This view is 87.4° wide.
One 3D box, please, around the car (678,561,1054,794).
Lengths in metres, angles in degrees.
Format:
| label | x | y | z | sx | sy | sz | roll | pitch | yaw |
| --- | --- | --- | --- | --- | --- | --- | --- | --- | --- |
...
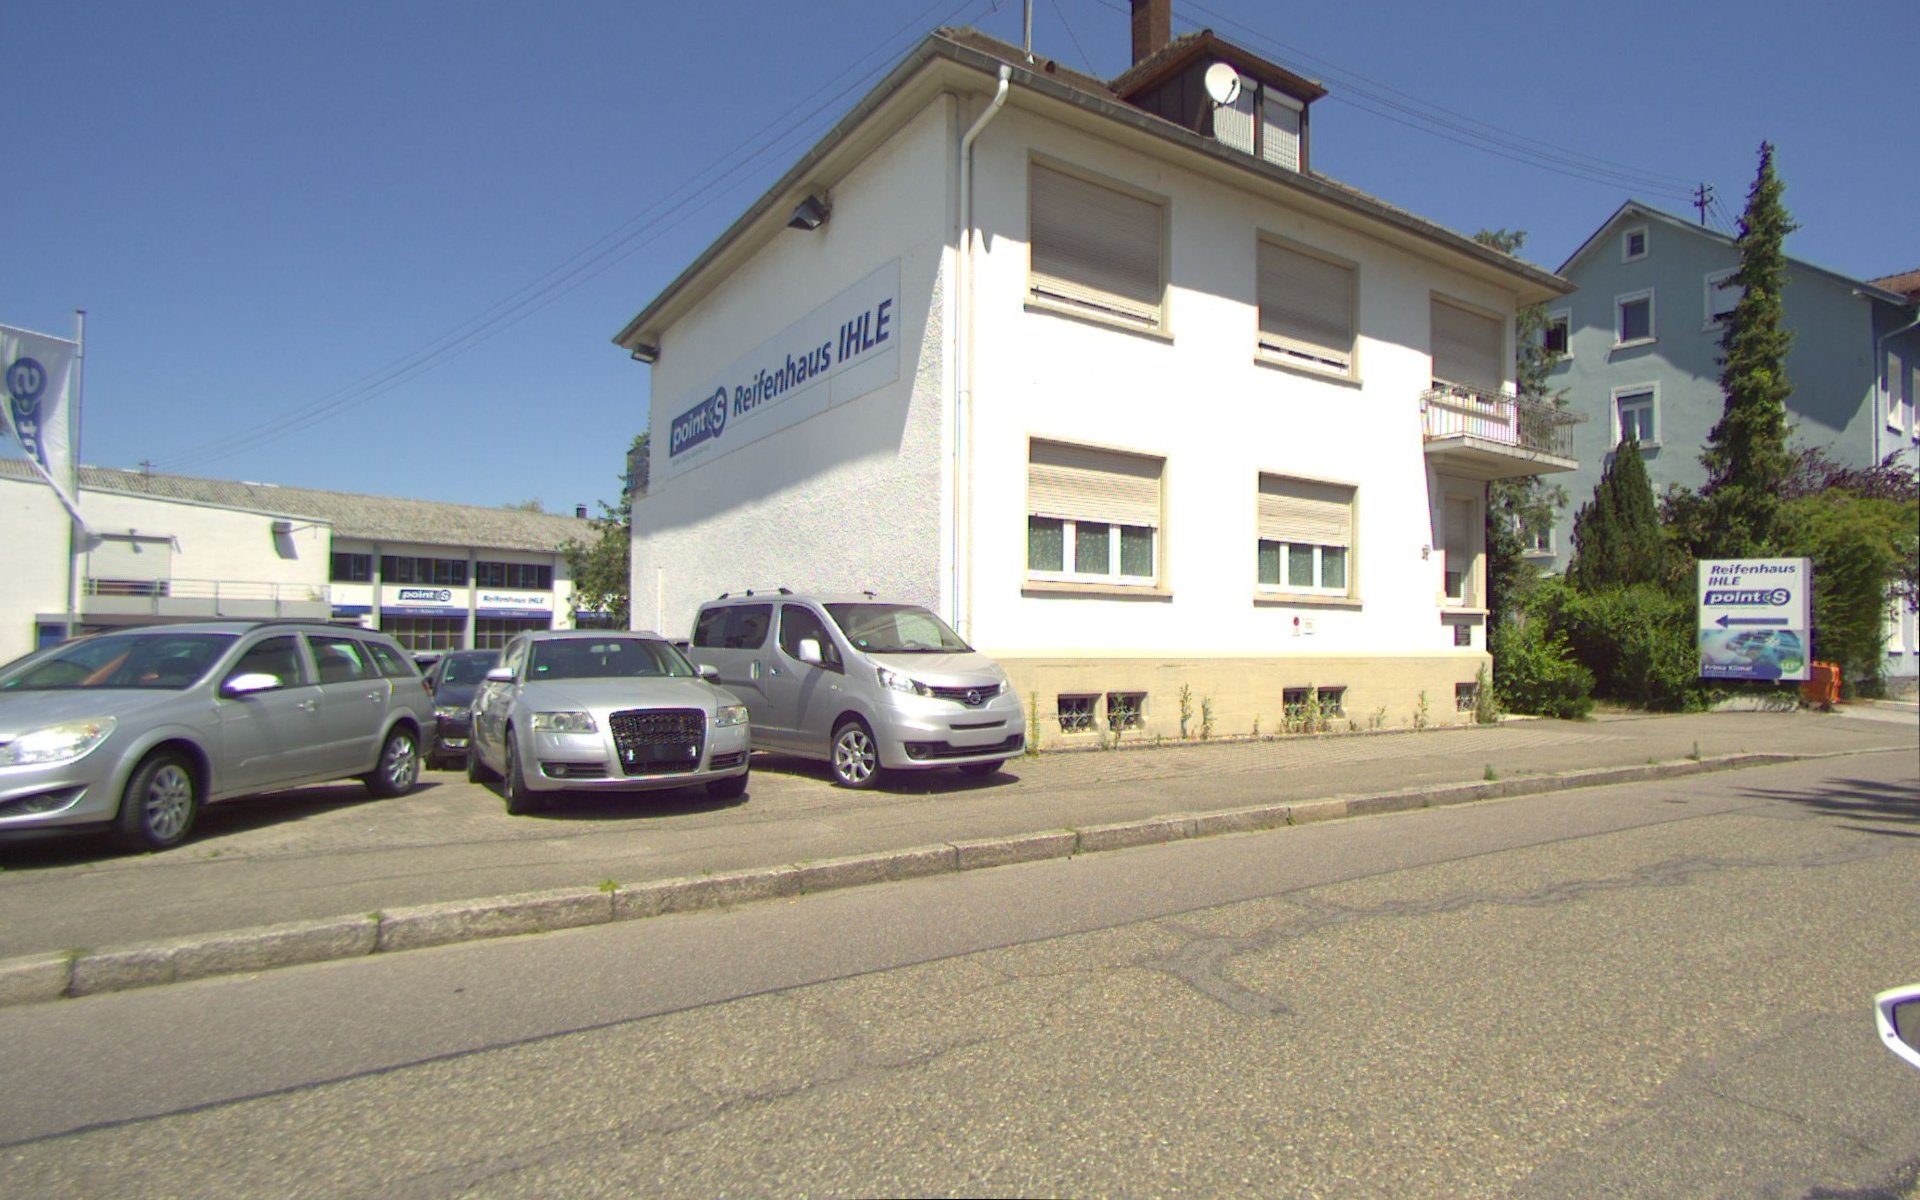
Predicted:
| label | x | y | z | sx | sy | sz | roll | pitch | yaw |
| --- | --- | --- | --- | --- | --- | --- | --- | --- | --- |
| car | -1.180 | 0.748 | 10.479 | 1.835 | 1.901 | 4.317 | 3 | -4 | -39 |

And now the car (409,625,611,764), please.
| label | x | y | z | sx | sy | sz | roll | pitch | yaw |
| --- | --- | --- | --- | --- | --- | --- | --- | --- | --- |
| car | -6.138 | 1.248 | 13.390 | 1.953 | 1.514 | 4.451 | 2 | -6 | -31 |

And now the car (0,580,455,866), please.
| label | x | y | z | sx | sy | sz | roll | pitch | yaw |
| --- | --- | --- | --- | --- | --- | --- | --- | --- | --- |
| car | -5.750 | 0.758 | 7.461 | 1.840 | 1.515 | 4.276 | 0 | -3 | -1 |

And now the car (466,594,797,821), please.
| label | x | y | z | sx | sy | sz | roll | pitch | yaw |
| --- | --- | --- | --- | --- | --- | --- | --- | --- | --- |
| car | -3.227 | 0.842 | 9.177 | 1.953 | 1.515 | 4.450 | 2 | -3 | -31 |

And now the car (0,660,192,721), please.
| label | x | y | z | sx | sy | sz | roll | pitch | yaw |
| --- | --- | --- | --- | --- | --- | --- | --- | --- | --- |
| car | -23.068 | 2.341 | 26.624 | 1.741 | 1.426 | 4.040 | 0 | -2 | 42 |

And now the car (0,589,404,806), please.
| label | x | y | z | sx | sy | sz | roll | pitch | yaw |
| --- | --- | --- | --- | --- | --- | --- | --- | --- | --- |
| car | -7.814 | 0.854 | 9.738 | 1.815 | 1.666 | 4.211 | 0 | -3 | 15 |
